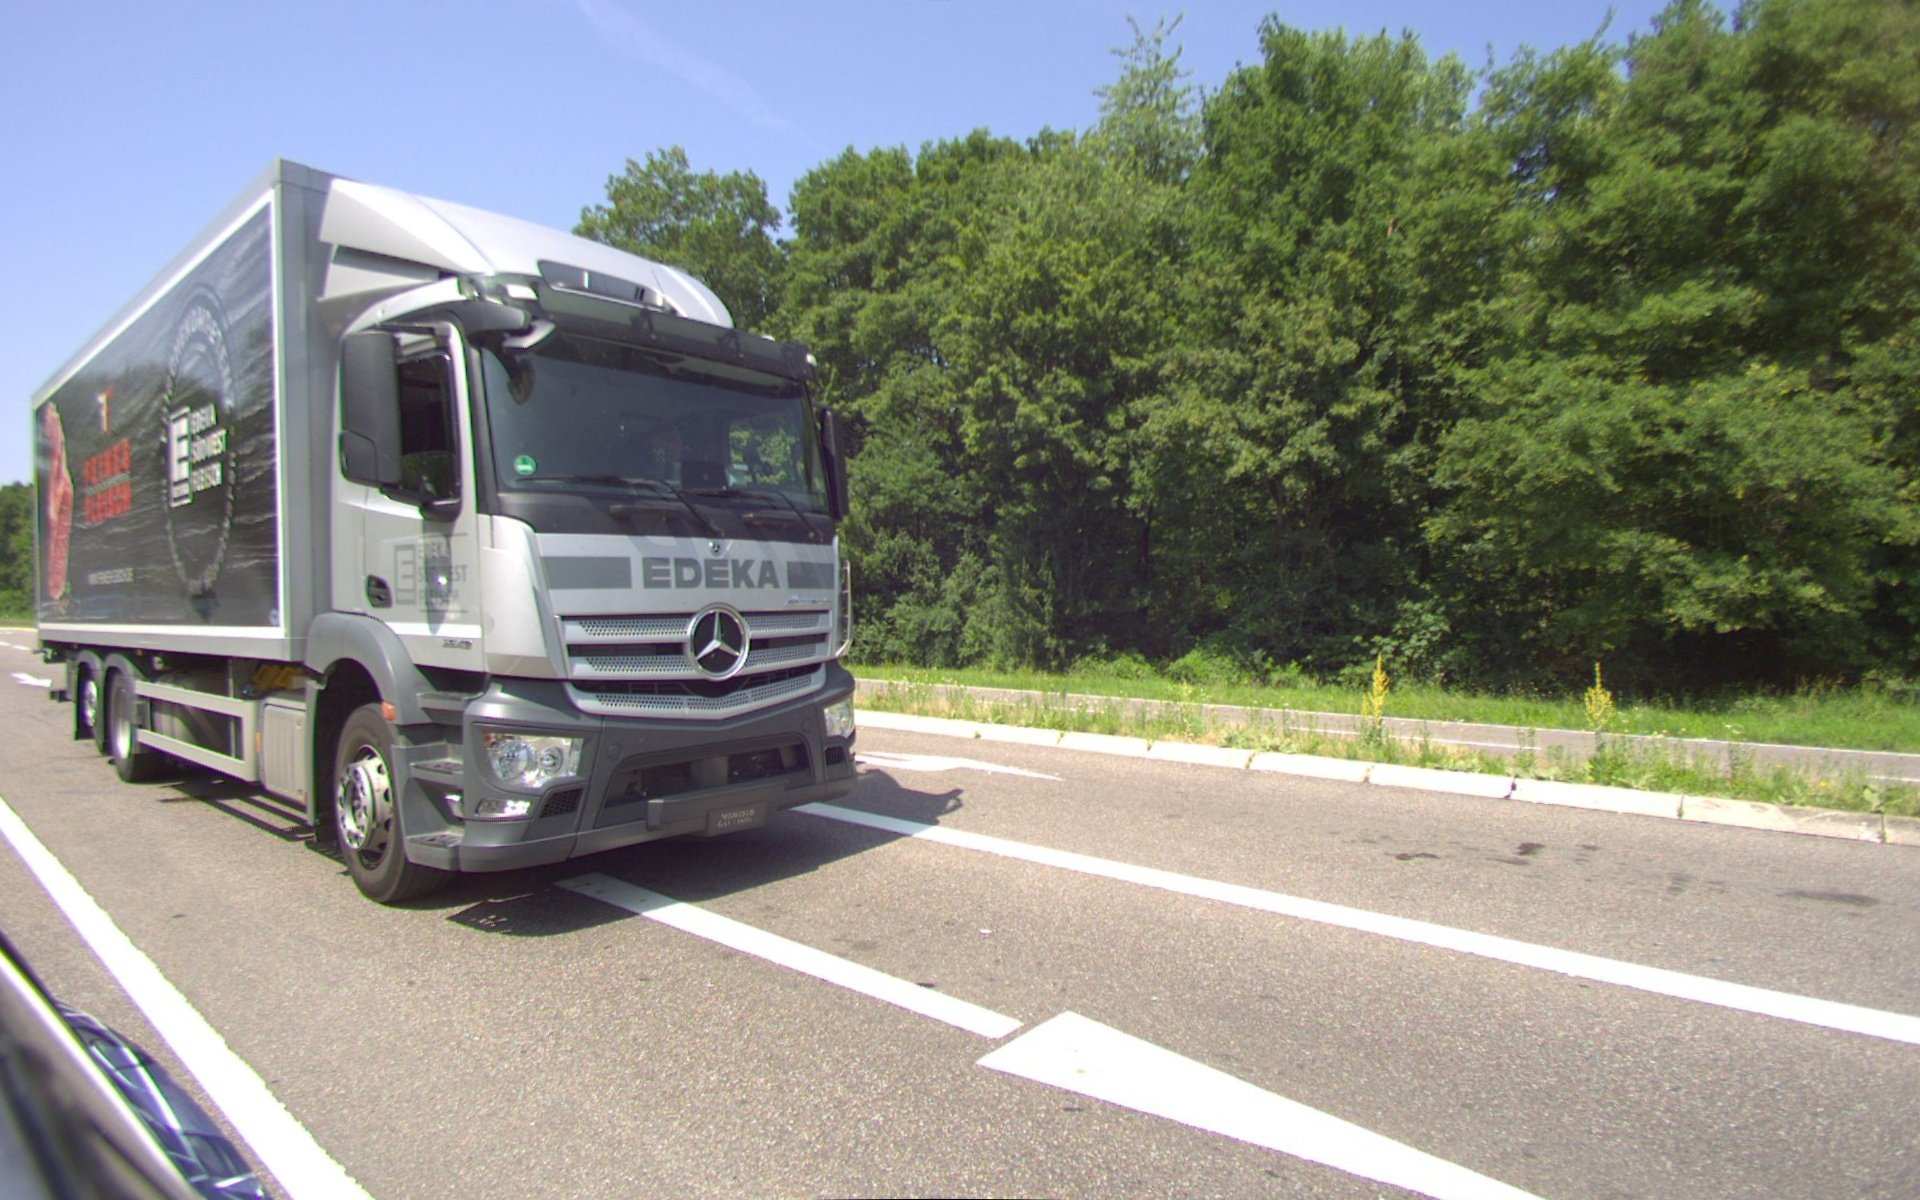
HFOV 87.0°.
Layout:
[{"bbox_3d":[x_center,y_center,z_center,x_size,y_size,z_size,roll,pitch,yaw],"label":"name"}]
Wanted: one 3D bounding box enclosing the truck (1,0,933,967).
[{"bbox_3d":[-5.363,-0.529,8.552,11.311,3.914,2.718,-1,0,40],"label":"truck"}]
